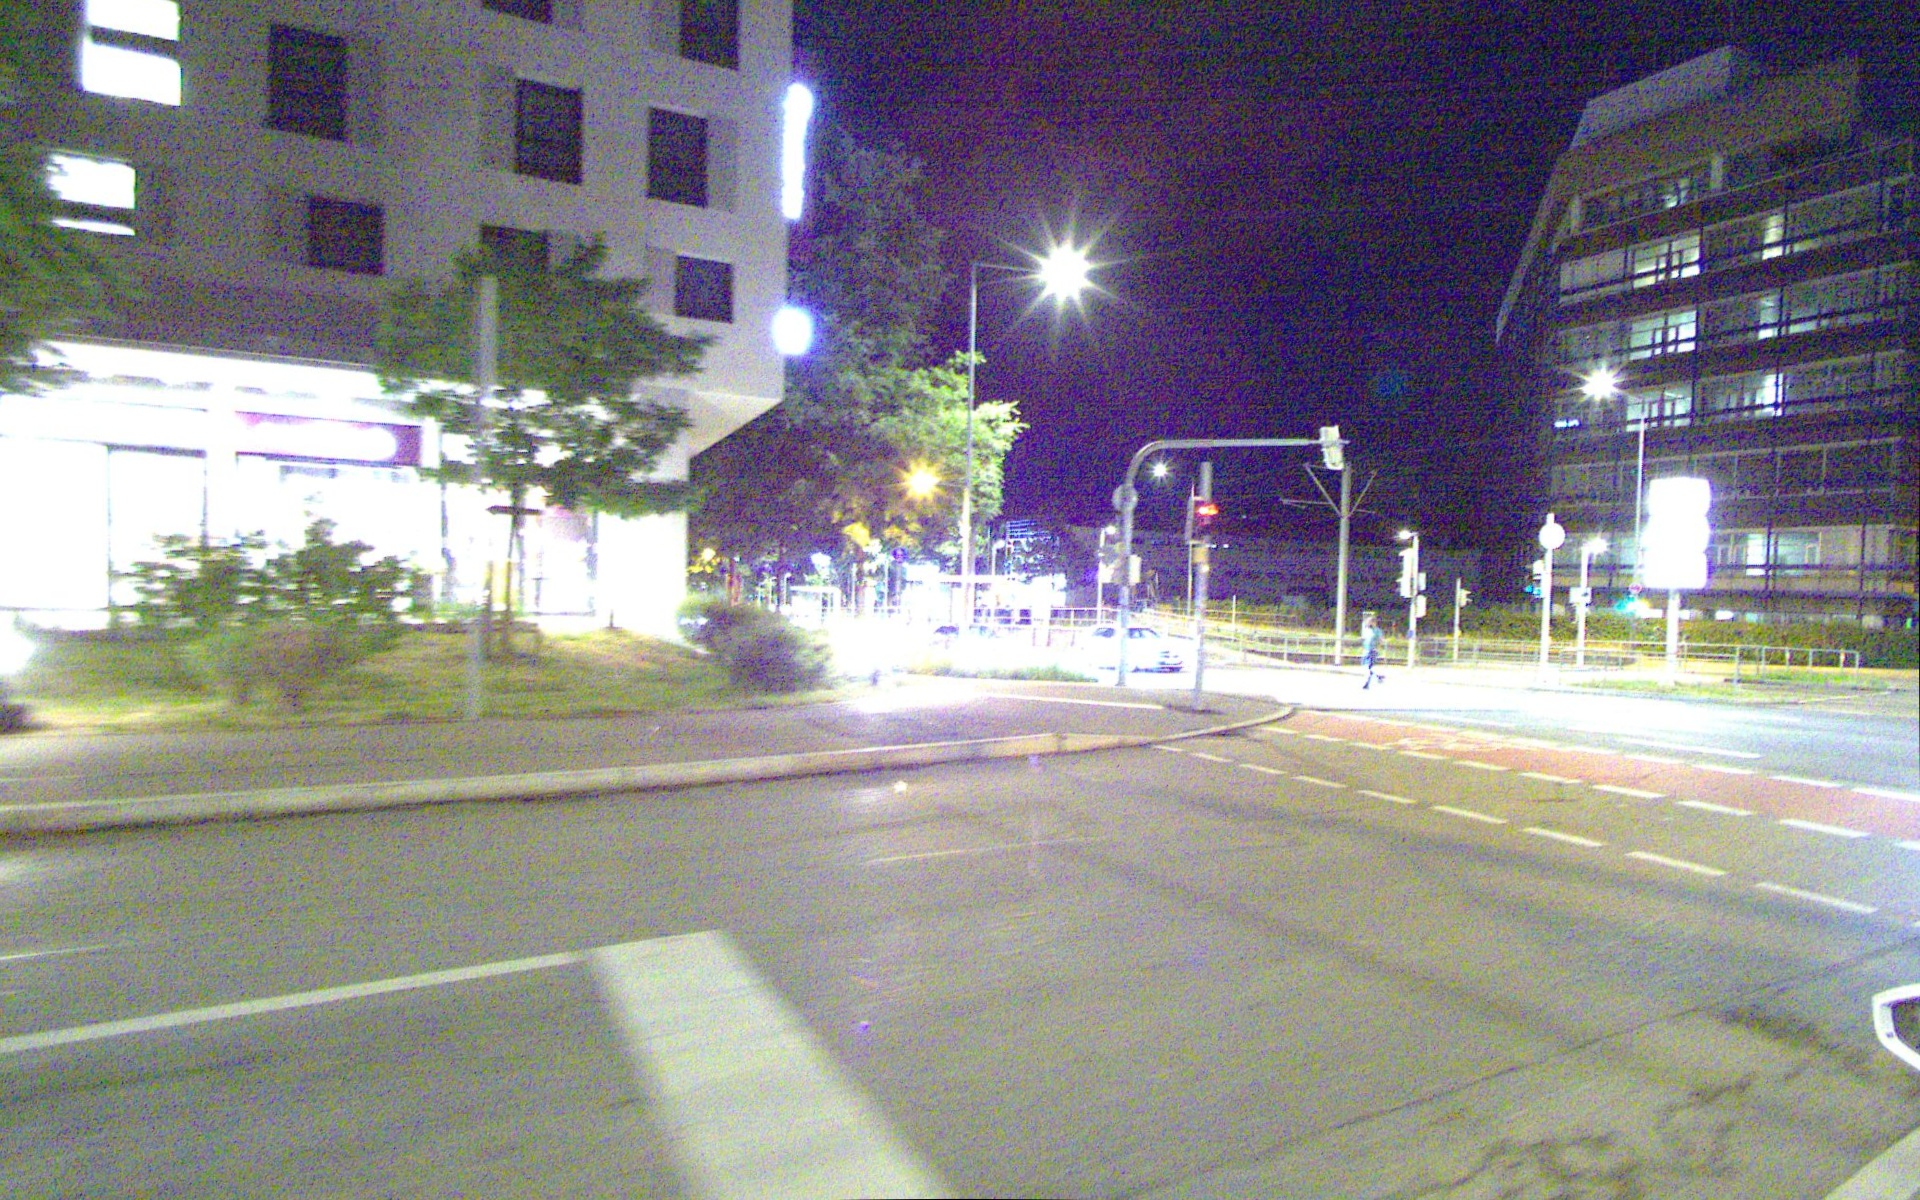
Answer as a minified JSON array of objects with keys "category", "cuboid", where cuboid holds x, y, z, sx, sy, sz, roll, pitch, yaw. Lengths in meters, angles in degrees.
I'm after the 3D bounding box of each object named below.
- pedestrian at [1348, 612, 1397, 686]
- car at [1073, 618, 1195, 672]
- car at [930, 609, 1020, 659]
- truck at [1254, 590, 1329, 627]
[{"category":"pedestrian","cuboid":[9.516,1.126,23.178,0.854,1.656,0.664,2,0,-34]},{"category":"car","cuboid":[5.372,1.347,31.601,1.793,1.522,4.176,0,0,-24]},{"category":"car","cuboid":[0.433,1.139,34.714,1.877,1.591,3.984,2,-1,-18]},{"category":"truck","cuboid":[29.208,0.718,88.808,2.877,3.129,5.873,2,0,-28]}]
